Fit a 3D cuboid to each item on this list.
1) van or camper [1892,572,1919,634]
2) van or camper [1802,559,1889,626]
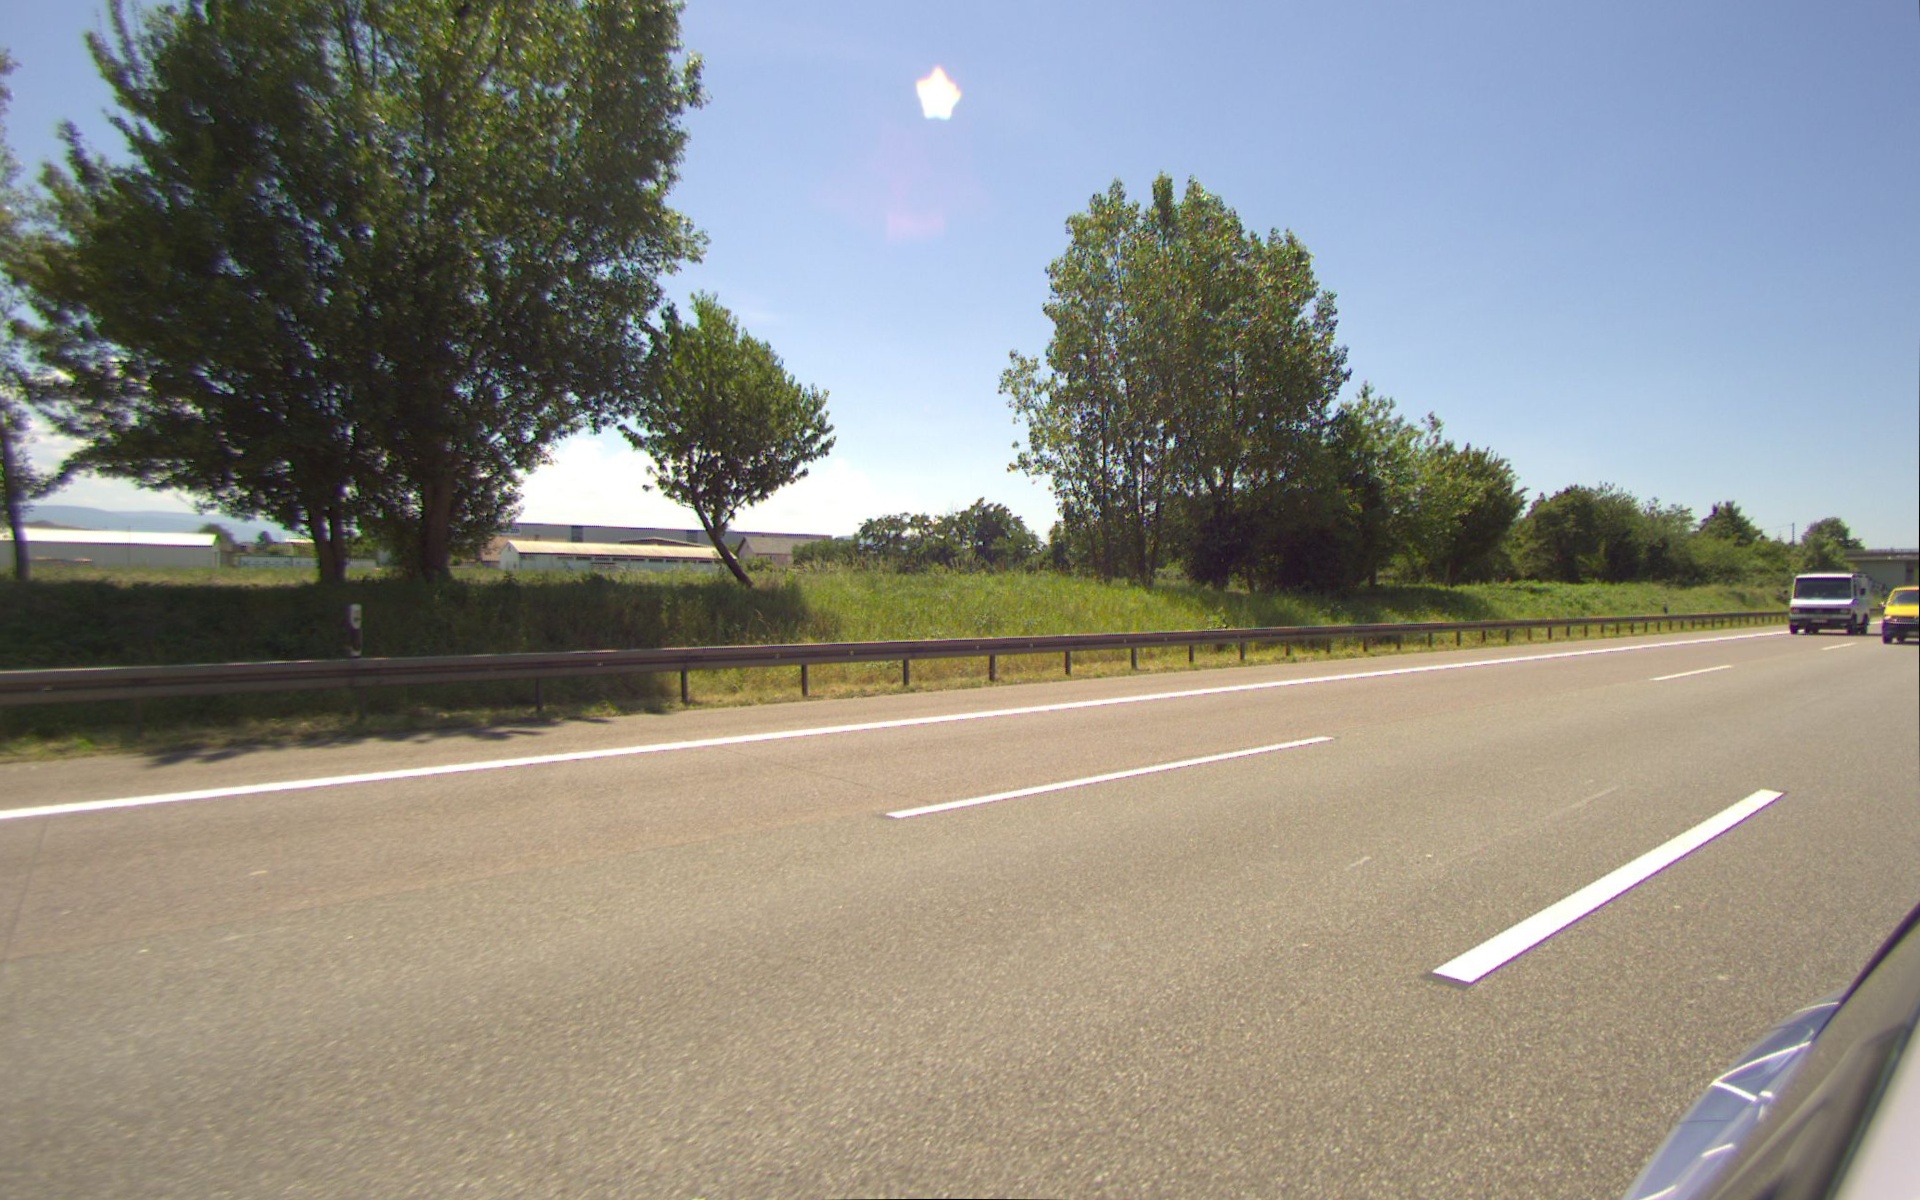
[{"bbox_3d":[33.505,0.088,34.389,5.781,2.029,2.062,0,1,-41],"label":"van or camper"},{"bbox_3d":[38.369,-0.334,43.788,6.258,2.737,2.116,-1,0,-42],"label":"van or camper"}]
